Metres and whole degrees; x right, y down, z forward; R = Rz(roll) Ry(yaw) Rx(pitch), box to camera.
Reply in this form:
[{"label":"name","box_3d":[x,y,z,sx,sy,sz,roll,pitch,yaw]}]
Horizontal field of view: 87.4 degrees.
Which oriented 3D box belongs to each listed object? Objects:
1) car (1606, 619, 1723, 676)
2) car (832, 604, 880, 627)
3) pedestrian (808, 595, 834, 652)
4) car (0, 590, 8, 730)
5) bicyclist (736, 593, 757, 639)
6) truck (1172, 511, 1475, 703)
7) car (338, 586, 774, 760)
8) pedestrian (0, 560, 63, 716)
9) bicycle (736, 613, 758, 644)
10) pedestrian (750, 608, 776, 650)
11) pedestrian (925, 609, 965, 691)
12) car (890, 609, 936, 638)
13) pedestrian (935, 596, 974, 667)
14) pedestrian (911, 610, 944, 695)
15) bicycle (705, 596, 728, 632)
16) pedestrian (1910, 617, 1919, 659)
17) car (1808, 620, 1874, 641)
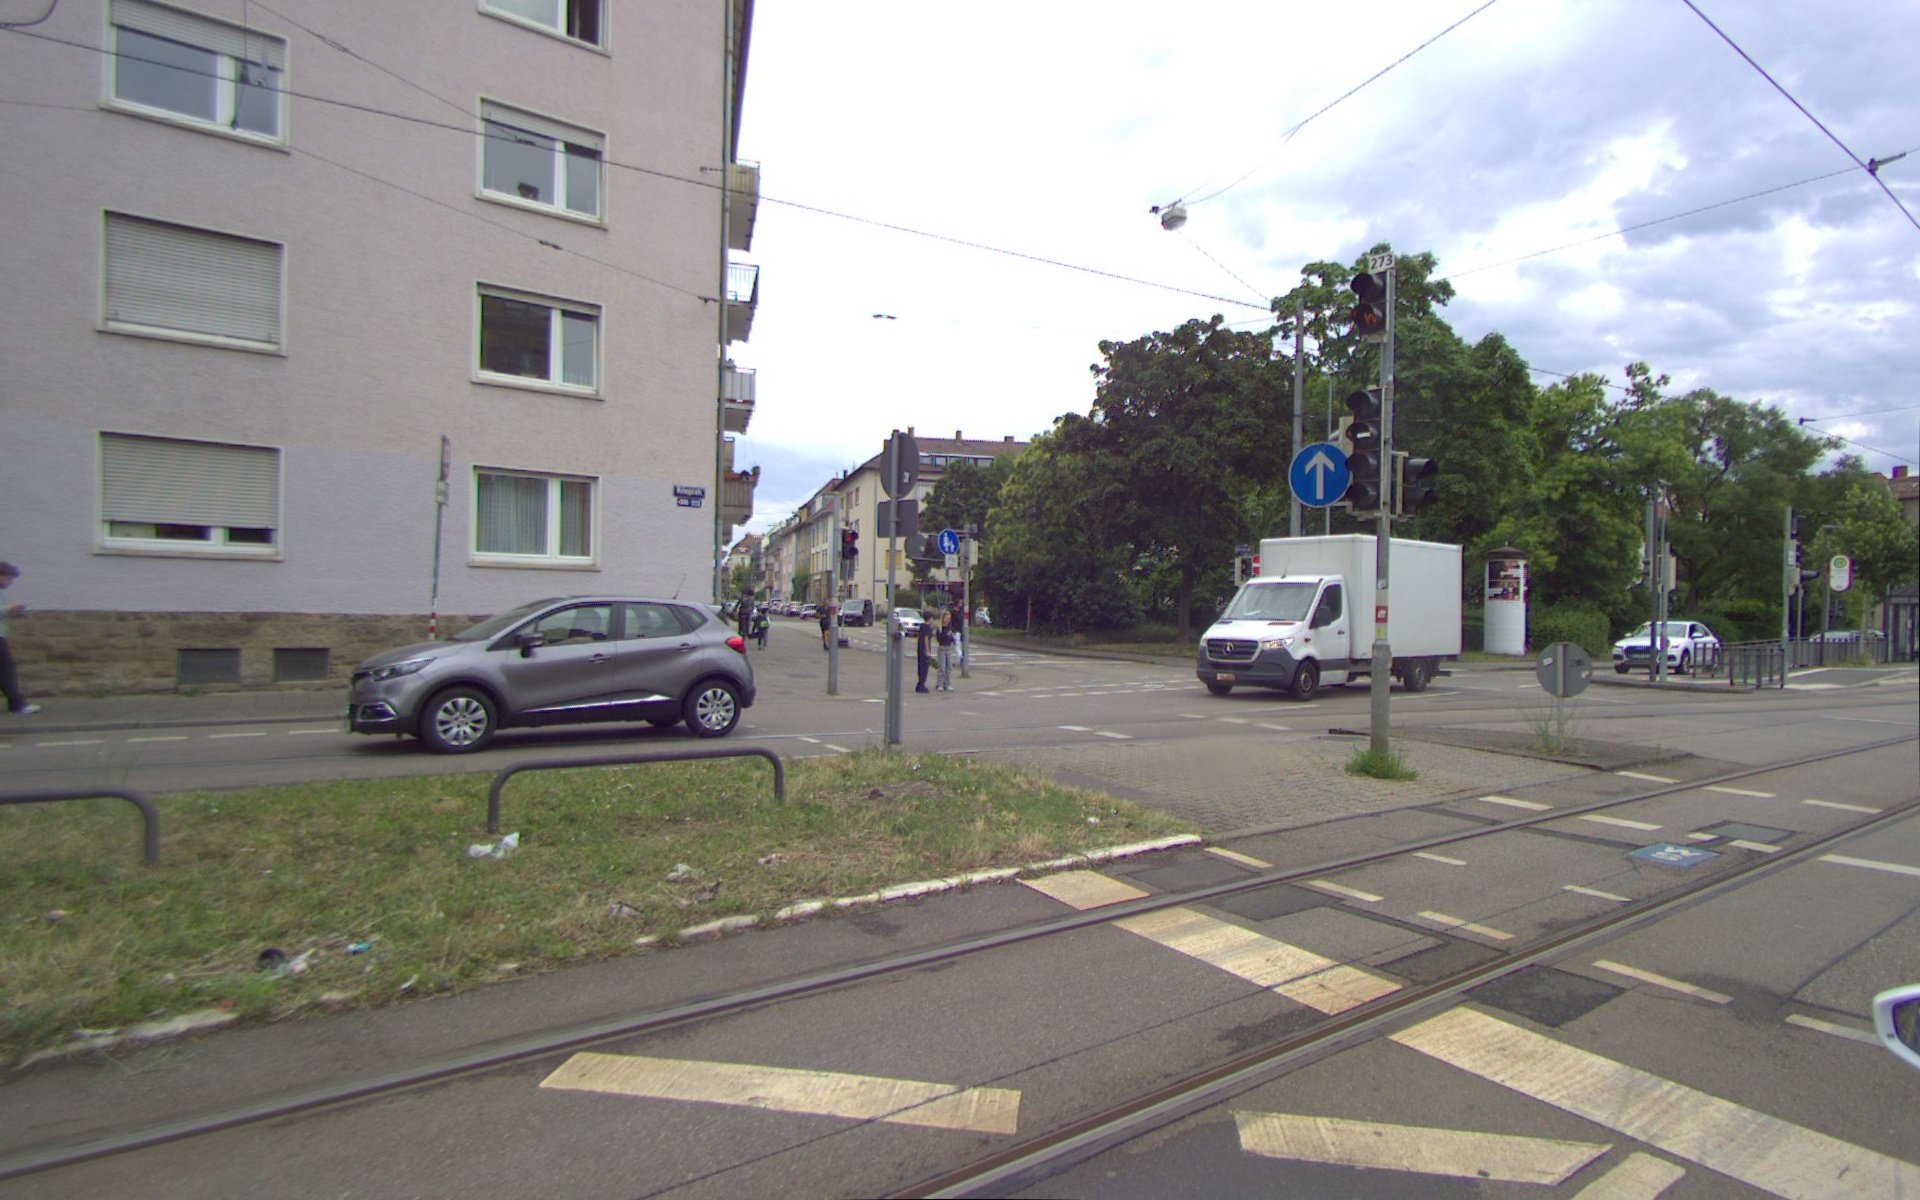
[{"label":"car","box_3d":[22.361,1.482,31.823,4.496,1.661,1.757,2,0,-38]},{"label":"car","box_3d":[-6.917,0.996,67.165,1.607,1.462,3.952,1,0,20]},{"label":"pedestrian","box_3d":[-4.520,0.753,32.744,0.673,1.837,0.719,1,0,-20]},{"label":"car","box_3d":[-11.650,0.593,8.726,4.719,1.462,1.622,1,0,-38]},{"label":"bicyclist","box_3d":[-7.473,0.553,35.173,0.647,1.585,0.858,1,0,-15]},{"label":"truck","box_3d":[7.420,0.201,19.896,7.269,3.199,2.167,2,0,-39]},{"label":"car","box_3d":[-4.248,0.696,10.887,4.094,1.555,1.632,2,0,-37]},{"label":"pedestrian","box_3d":[-11.260,0.438,11.863,0.892,1.790,0.792,1,0,-37]},{"label":"bicycle","box_3d":[-7.488,0.993,35.208,0.645,1.016,1.960,1,0,-15]},{"label":"pedestrian","box_3d":[-6.158,0.902,31.406,0.680,1.305,0.728,1,0,-20]},{"label":"pedestrian","box_3d":[-0.291,0.968,19.656,0.524,1.578,0.569,1,0,32]},{"label":"car","box_3d":[-2.476,1.211,51.991,1.964,1.372,4.030,1,0,-9]},{"label":"pedestrian","box_3d":[-0.145,0.864,27.858,1.025,1.899,0.836,1,0,0]},{"label":"pedestrian","box_3d":[-0.625,0.980,18.969,0.524,1.578,0.570,1,0,-9]},{"label":"bicycle","box_3d":[-10.369,0.578,42.692,0.868,1.485,2.887,1,0,-14]},{"label":"pedestrian","box_3d":[38.240,1.525,39.837,0.628,1.645,0.673,1,0,-36]},{"label":"car","box_3d":[73.382,2.535,83.688,1.758,1.513,3.848,2,0,-35]}]
